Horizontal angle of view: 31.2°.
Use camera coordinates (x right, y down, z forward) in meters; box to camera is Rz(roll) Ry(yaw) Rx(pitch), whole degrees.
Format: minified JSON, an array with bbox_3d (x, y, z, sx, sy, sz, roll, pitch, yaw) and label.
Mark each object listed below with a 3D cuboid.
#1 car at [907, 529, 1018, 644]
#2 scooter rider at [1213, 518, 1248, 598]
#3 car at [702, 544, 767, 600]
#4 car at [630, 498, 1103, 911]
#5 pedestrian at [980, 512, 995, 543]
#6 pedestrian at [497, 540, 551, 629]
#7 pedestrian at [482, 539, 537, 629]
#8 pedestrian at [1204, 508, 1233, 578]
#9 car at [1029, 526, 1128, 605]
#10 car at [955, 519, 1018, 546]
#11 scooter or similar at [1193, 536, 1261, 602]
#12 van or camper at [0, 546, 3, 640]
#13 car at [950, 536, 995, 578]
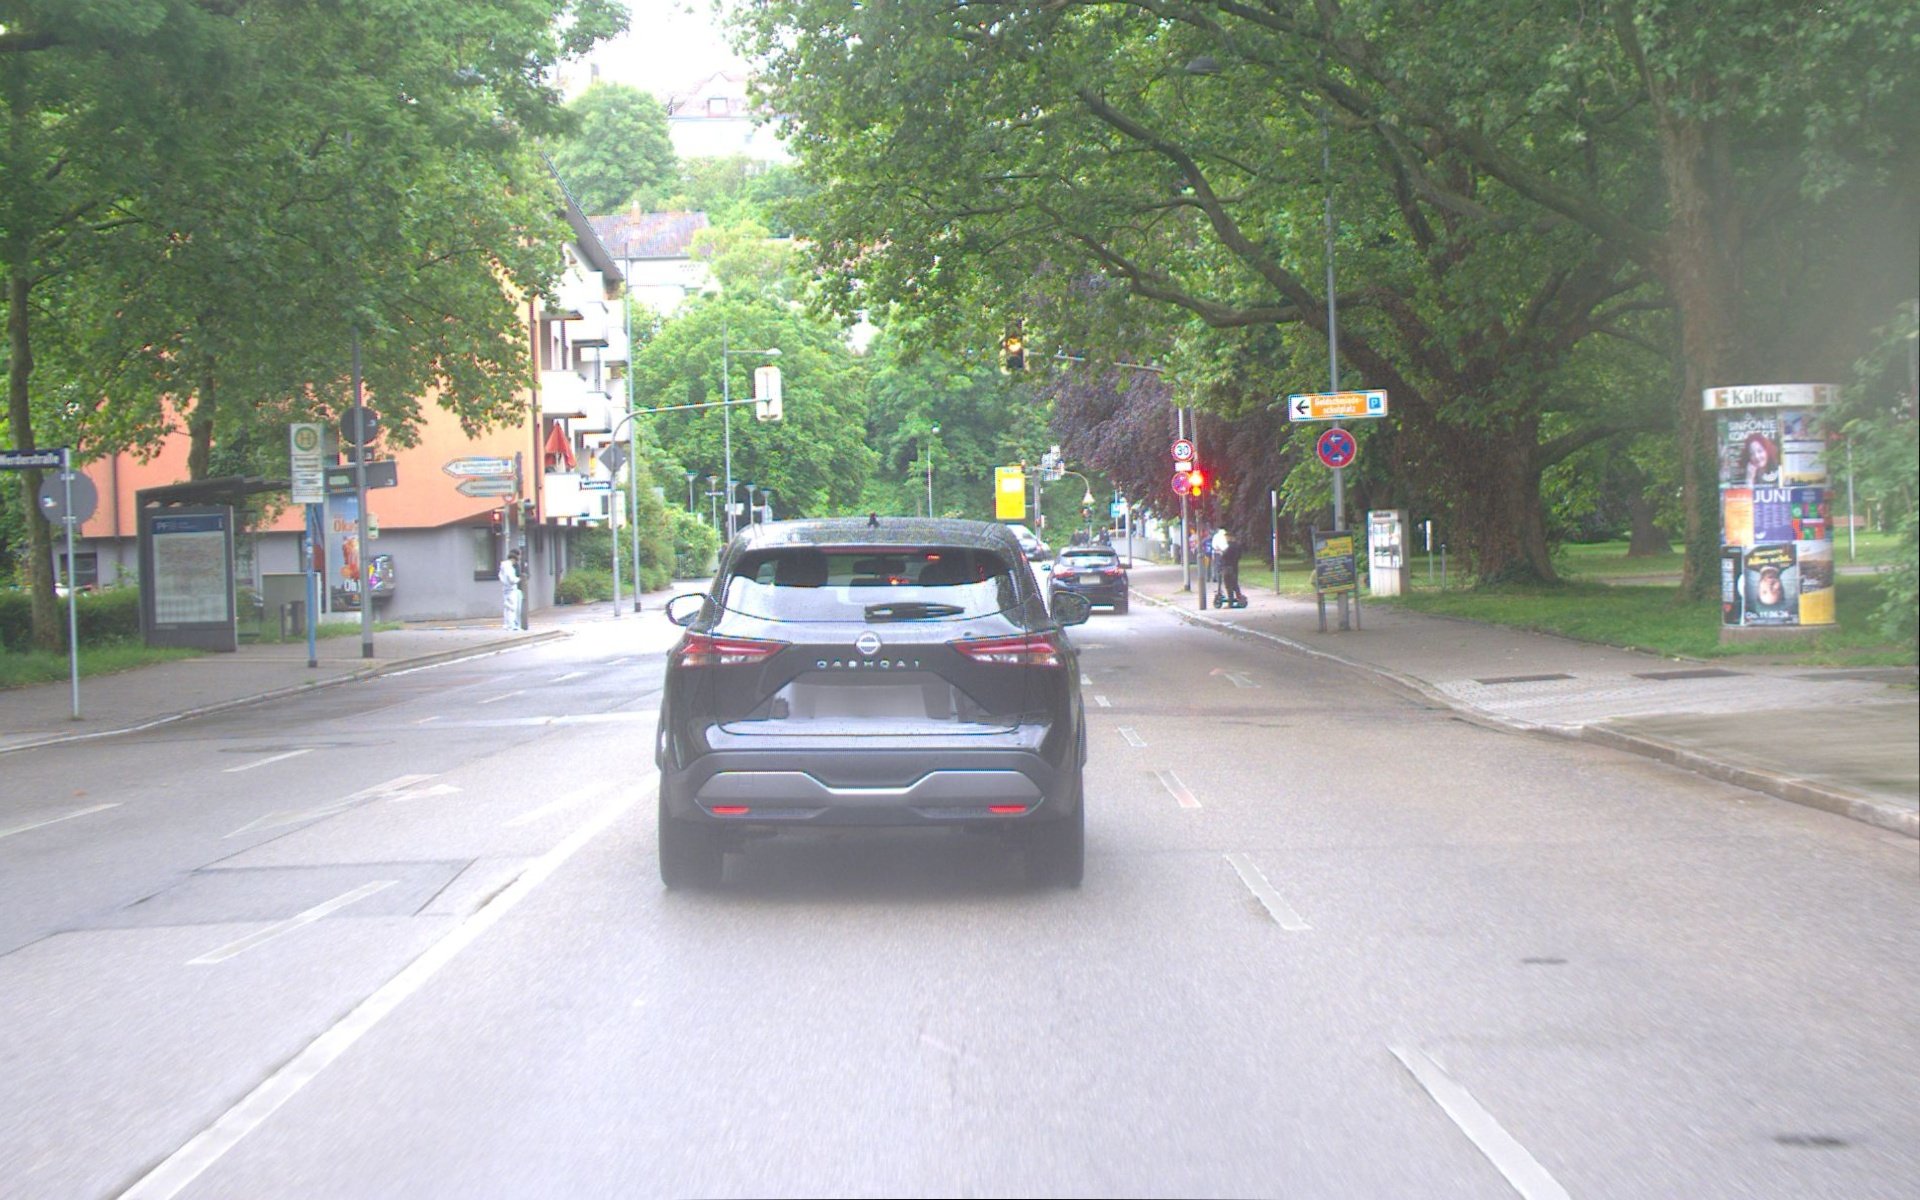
[{"bbox_3d":[0.043,-0.244,56.099,1.698,1.739,3.641,-2,1,0],"label":"car"},{"bbox_3d":[6.036,-0.928,76.724,0.643,1.760,0.735,-1,0,12],"label":"scooter rider"},{"bbox_3d":[-6.567,-0.843,100.335,1.795,1.528,3.868,-3,1,-3],"label":"car"},{"bbox_3d":[-0.369,0.389,15.933,1.913,1.674,4.000,0,1,0],"label":"car"},{"bbox_3d":[1.515,-3.986,188.207,0.509,1.667,0.658,-2,1,28],"label":"pedestrian"},{"bbox_3d":[-9.461,-0.346,74.519,1.035,1.869,0.658,-3,1,-11],"label":"pedestrian"},{"bbox_3d":[-9.670,-0.341,73.739,1.035,1.869,0.658,-3,1,-11],"label":"pedestrian"},{"bbox_3d":[7.495,-1.652,99.701,0.725,2.007,0.851,-2,1,0],"label":"pedestrian"},{"bbox_3d":[2.713,-0.777,77.863,1.994,1.729,3.999,1,1,5],"label":"car"},{"bbox_3d":[1.697,-4.391,223.897,4.014,1.662,1.702,1,0,-1],"label":"car"},{"bbox_3d":[5.965,-0.684,76.741,1.394,1.441,0.816,-1,0,13],"label":"scooter or similar"},{"bbox_3d":[-18.821,-0.196,58.295,4.595,1.942,2.000,-2,1,-2],"label":"van or camper"},{"bbox_3d":[0.470,-1.675,132.817,1.634,1.527,3.967,-2,1,0],"label":"car"}]
